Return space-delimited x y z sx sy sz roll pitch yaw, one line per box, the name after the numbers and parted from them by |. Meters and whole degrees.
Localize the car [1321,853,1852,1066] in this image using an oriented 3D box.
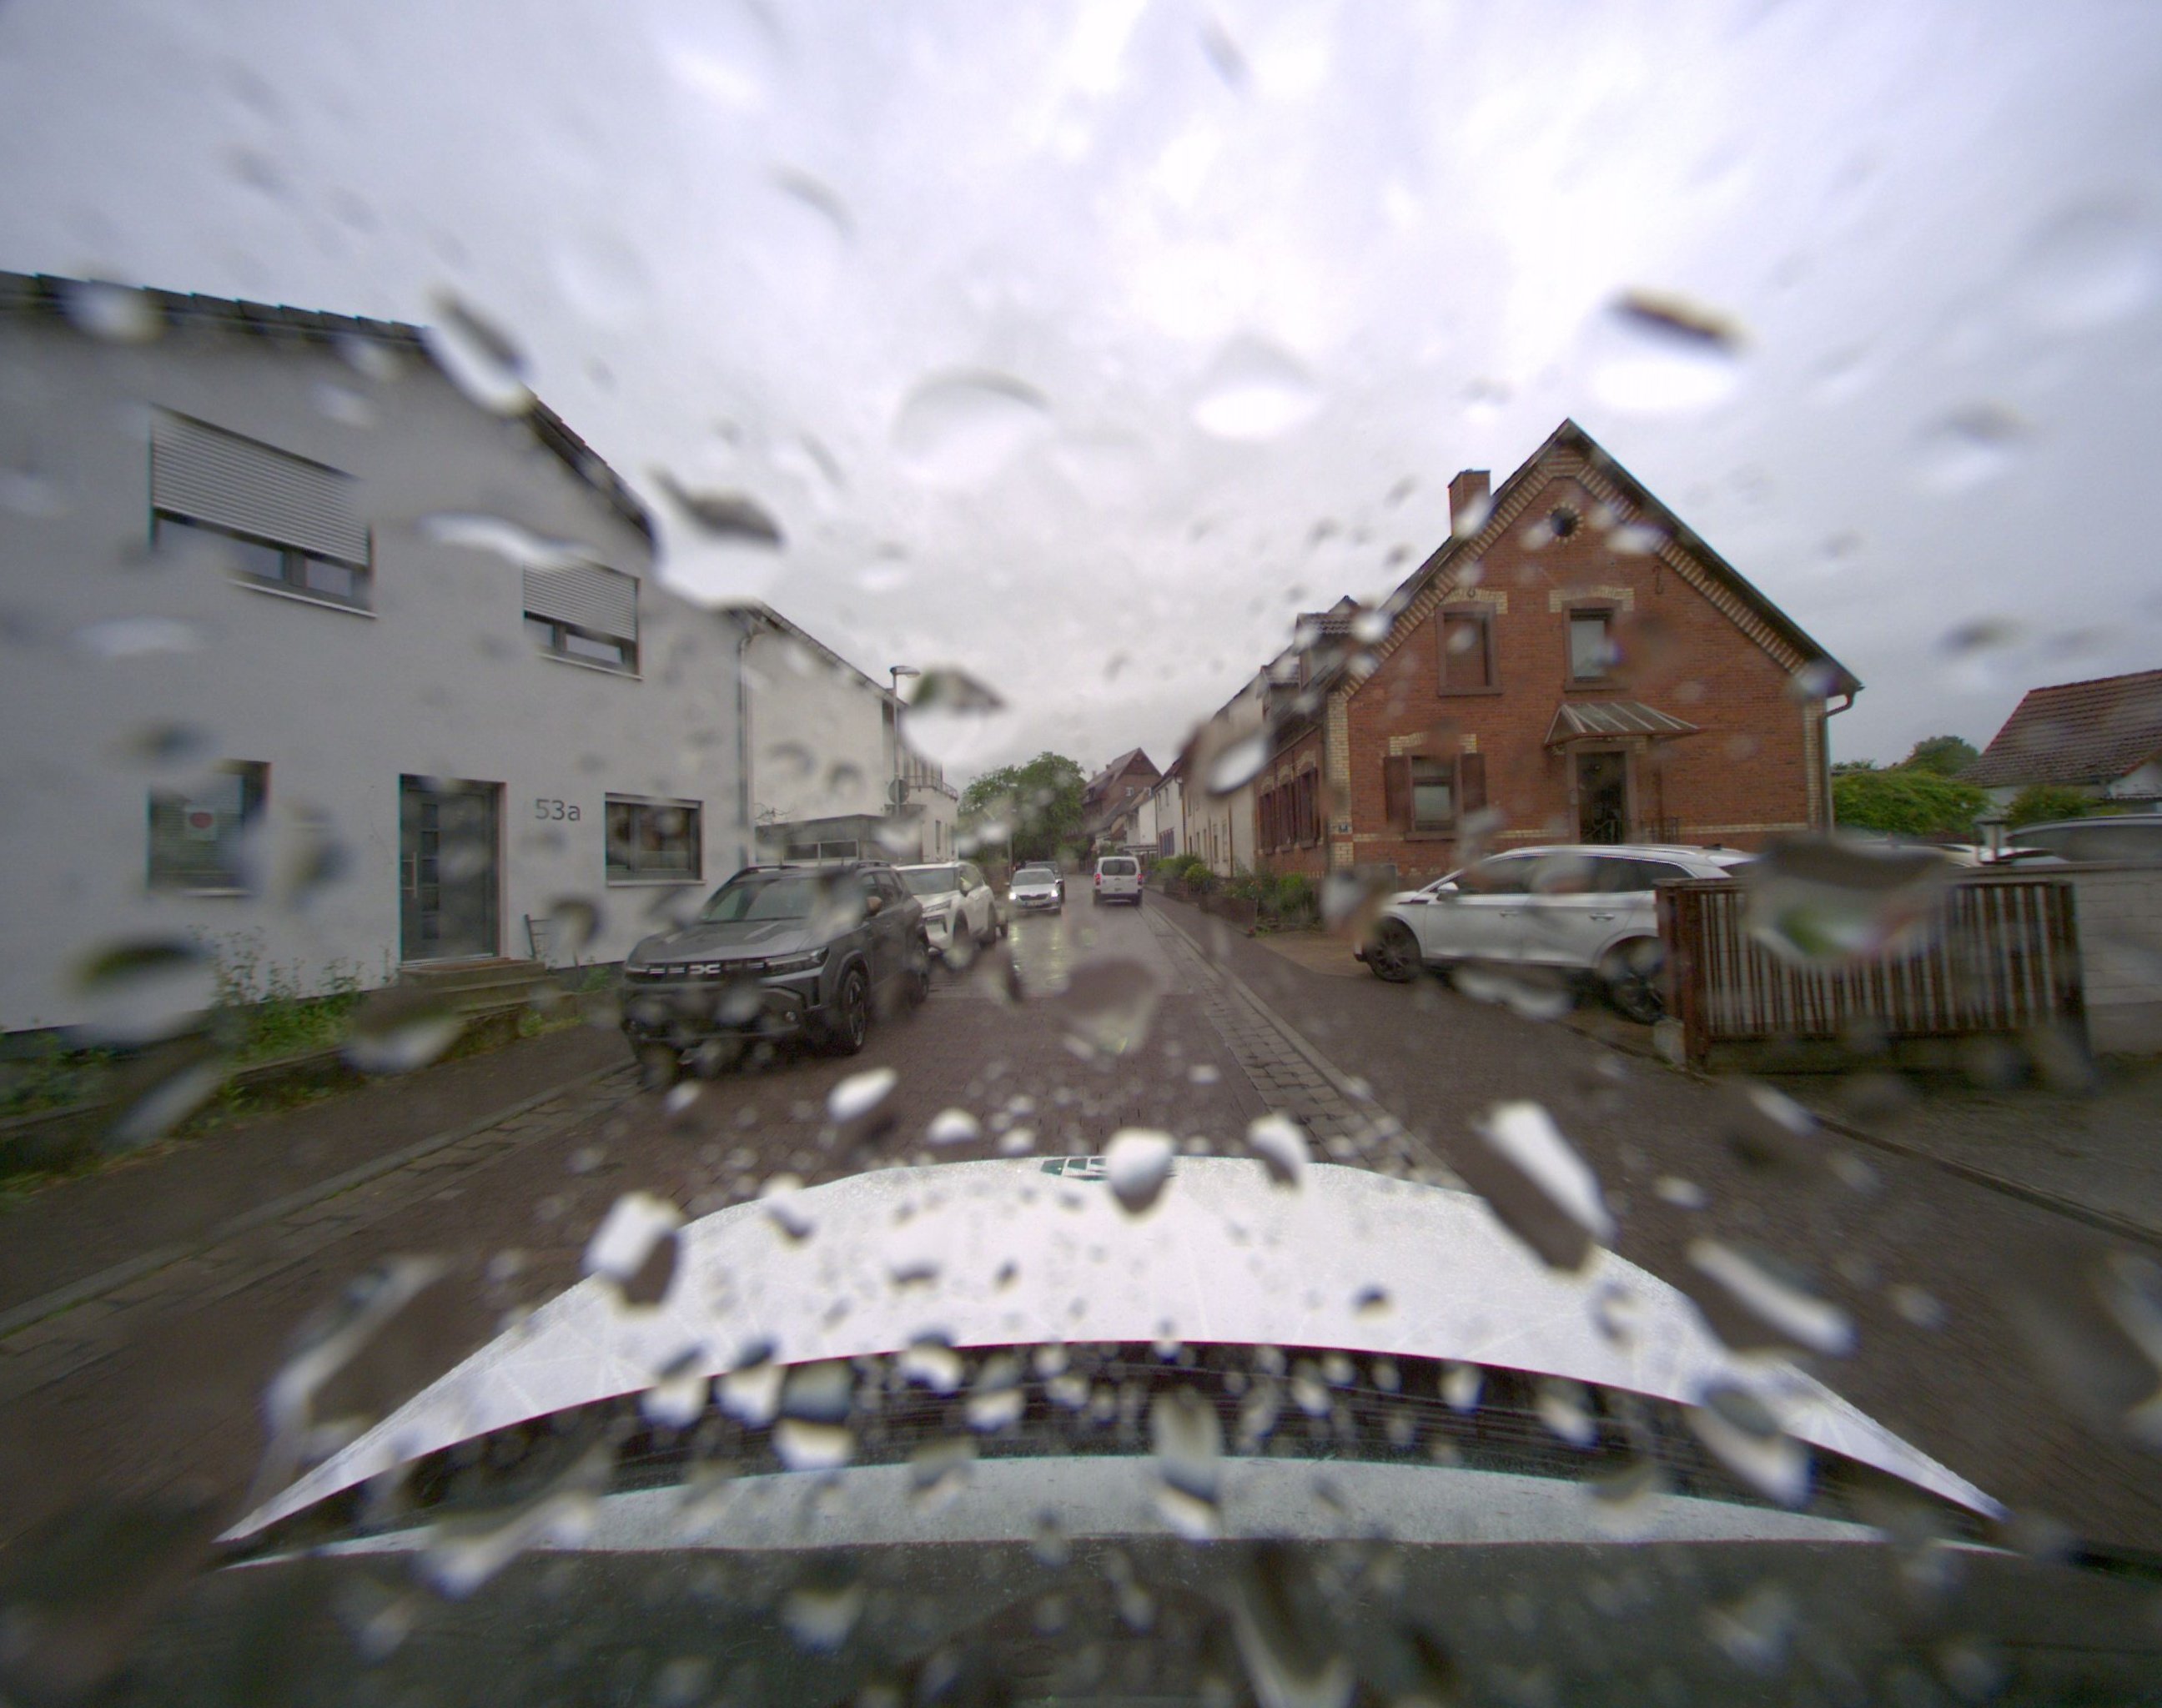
5.013 0.826 8.860 1.883 1.590 4.575 -1 1 -30 | car

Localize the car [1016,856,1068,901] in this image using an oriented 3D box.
-1.612 0.993 34.804 1.988 1.677 4.780 -3 0 -2 | car

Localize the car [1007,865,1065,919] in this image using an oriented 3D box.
-1.456 1.198 26.677 1.685 1.565 3.929 -3 -1 -3 | car

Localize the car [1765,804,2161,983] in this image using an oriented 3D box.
10.894 0.363 9.394 1.811 1.675 4.191 -5 1 -21 | car

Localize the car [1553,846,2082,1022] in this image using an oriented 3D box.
8.249 0.735 9.682 1.880 1.516 4.258 -2 0 -24 | car

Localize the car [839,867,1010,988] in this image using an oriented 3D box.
-2.479 1.117 14.094 1.741 1.636 4.422 -5 -1 3 | car

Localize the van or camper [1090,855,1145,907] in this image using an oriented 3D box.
1.394 0.999 31.463 1.936 1.851 4.002 -1 0 2 | van or camper

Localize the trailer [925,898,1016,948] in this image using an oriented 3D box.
-2.344 1.465 17.804 1.477 0.829 2.677 -4 -2 1 | trailer

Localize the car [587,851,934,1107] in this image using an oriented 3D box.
-2.701 0.906 7.972 1.807 1.779 4.015 -3 0 -2 | car
